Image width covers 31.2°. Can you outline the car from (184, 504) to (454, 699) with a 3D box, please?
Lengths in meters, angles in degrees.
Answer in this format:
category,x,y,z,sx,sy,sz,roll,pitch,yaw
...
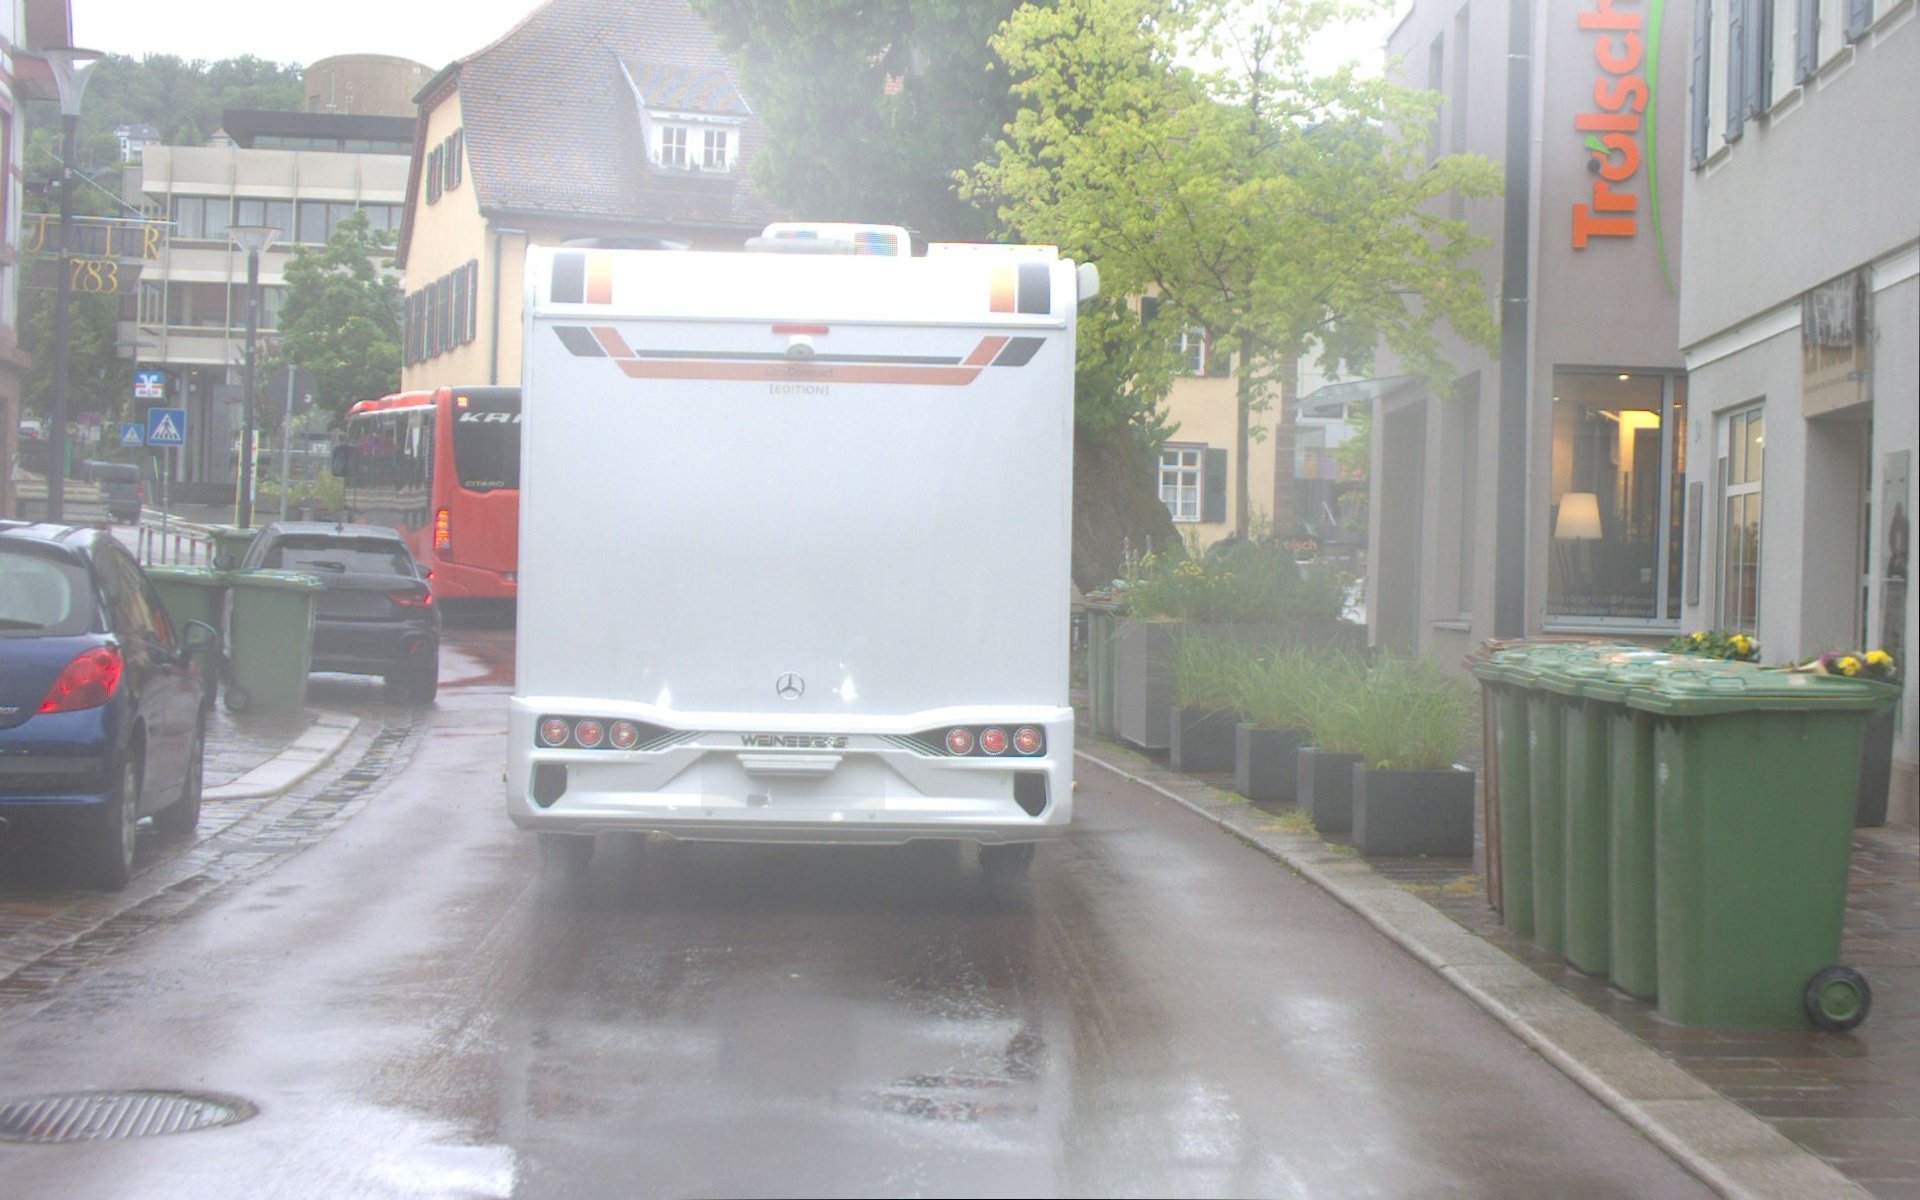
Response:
category,x,y,z,sx,sy,sz,roll,pitch,yaw
car,-5.715,-0.032,30.308,1.993,1.489,4.002,3,1,-15

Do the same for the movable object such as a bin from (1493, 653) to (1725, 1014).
category,x,y,z,sx,sy,sz,roll,pitch,yaw
movable object such as a bin,2.297,0.815,12.206,0.678,1.228,0.565,1,0,-1

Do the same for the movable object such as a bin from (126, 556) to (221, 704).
category,x,y,z,sx,sy,sz,roll,pitch,yaw
movable object such as a bin,-5.921,0.219,25.911,0.630,1.048,0.734,1,4,-9

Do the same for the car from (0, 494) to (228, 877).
category,x,y,z,sx,sy,sz,roll,pitch,yaw
car,-4.481,0.257,15.190,1.993,1.467,4.001,2,1,-6

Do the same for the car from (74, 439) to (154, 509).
category,x,y,z,sx,sy,sz,roll,pitch,yaw
car,-26.347,-3.898,106.992,1.993,2.007,4.001,1,0,-19

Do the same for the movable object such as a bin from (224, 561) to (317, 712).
category,x,y,z,sx,sy,sz,roll,pitch,yaw
movable object such as a bin,-5.211,0.270,26.013,0.630,1.109,0.734,1,0,-9

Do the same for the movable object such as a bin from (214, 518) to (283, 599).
category,x,y,z,sx,sy,sz,roll,pitch,yaw
movable object such as a bin,-9.405,-0.542,45.425,0.818,1.047,0.700,1,0,-16

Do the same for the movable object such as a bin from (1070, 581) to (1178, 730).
category,x,y,z,sx,sy,sz,roll,pitch,yaw
movable object such as a bin,1.236,0.414,25.949,0.728,1.098,0.562,1,0,-4

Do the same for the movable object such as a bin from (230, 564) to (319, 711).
category,x,y,z,sx,sy,sz,roll,pitch,yaw
movable object such as a bin,-5.334,0.286,26.783,0.630,1.119,0.734,1,0,-9

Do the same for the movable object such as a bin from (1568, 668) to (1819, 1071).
category,x,y,z,sx,sy,sz,roll,pitch,yaw
movable object such as a bin,2.356,0.855,11.088,0.658,1.241,0.543,1,0,-1

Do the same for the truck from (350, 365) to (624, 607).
category,x,y,z,sx,sy,sz,roll,pitch,yaw
truck,-6.413,-1.435,45.858,2.461,2.929,6.200,1,0,-18

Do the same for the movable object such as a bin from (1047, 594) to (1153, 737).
category,x,y,z,sx,sy,sz,roll,pitch,yaw
movable object such as a bin,1.078,0.498,26.550,0.728,1.076,0.577,1,0,-4

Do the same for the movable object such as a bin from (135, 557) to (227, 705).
category,x,y,z,sx,sy,sz,roll,pitch,yaw
movable object such as a bin,-6.046,0.236,26.704,0.630,1.119,0.734,1,0,-9

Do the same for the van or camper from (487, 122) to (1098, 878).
category,x,y,z,sx,sy,sz,roll,pitch,yaw
van or camper,-0.847,-0.390,16.689,2.325,2.909,6.394,1,0,-4

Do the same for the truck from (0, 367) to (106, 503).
category,x,y,z,sx,sy,sz,roll,pitch,yaw
truck,-20.491,-3.611,76.493,2.279,2.748,5.570,1,0,-20

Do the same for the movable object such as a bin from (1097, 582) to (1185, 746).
category,x,y,z,sx,sy,sz,roll,pitch,yaw
movable object such as a bin,1.297,0.457,24.709,0.543,1.152,0.577,1,0,-4

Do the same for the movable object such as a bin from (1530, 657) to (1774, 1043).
category,x,y,z,sx,sy,sz,roll,pitch,yaw
movable object such as a bin,2.335,0.831,11.642,0.678,1.252,0.543,1,0,-1

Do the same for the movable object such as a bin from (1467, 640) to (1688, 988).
category,x,y,z,sx,sy,sz,roll,pitch,yaw
movable object such as a bin,2.287,0.781,12.782,0.678,1.246,0.565,1,0,-1

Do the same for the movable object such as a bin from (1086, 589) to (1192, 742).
category,x,y,z,sx,sy,sz,roll,pitch,yaw
movable object such as a bin,1.312,0.475,25.315,0.692,1.098,0.562,1,0,-4

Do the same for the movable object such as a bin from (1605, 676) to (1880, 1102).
category,x,y,z,sx,sy,sz,roll,pitch,yaw
movable object such as a bin,2.379,0.864,10.501,0.658,1.234,0.621,1,0,-1

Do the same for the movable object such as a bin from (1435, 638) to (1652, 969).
category,x,y,z,sx,sy,sz,roll,pitch,yaw
movable object such as a bin,2.269,0.779,13.436,0.678,1.236,0.731,1,0,-1
